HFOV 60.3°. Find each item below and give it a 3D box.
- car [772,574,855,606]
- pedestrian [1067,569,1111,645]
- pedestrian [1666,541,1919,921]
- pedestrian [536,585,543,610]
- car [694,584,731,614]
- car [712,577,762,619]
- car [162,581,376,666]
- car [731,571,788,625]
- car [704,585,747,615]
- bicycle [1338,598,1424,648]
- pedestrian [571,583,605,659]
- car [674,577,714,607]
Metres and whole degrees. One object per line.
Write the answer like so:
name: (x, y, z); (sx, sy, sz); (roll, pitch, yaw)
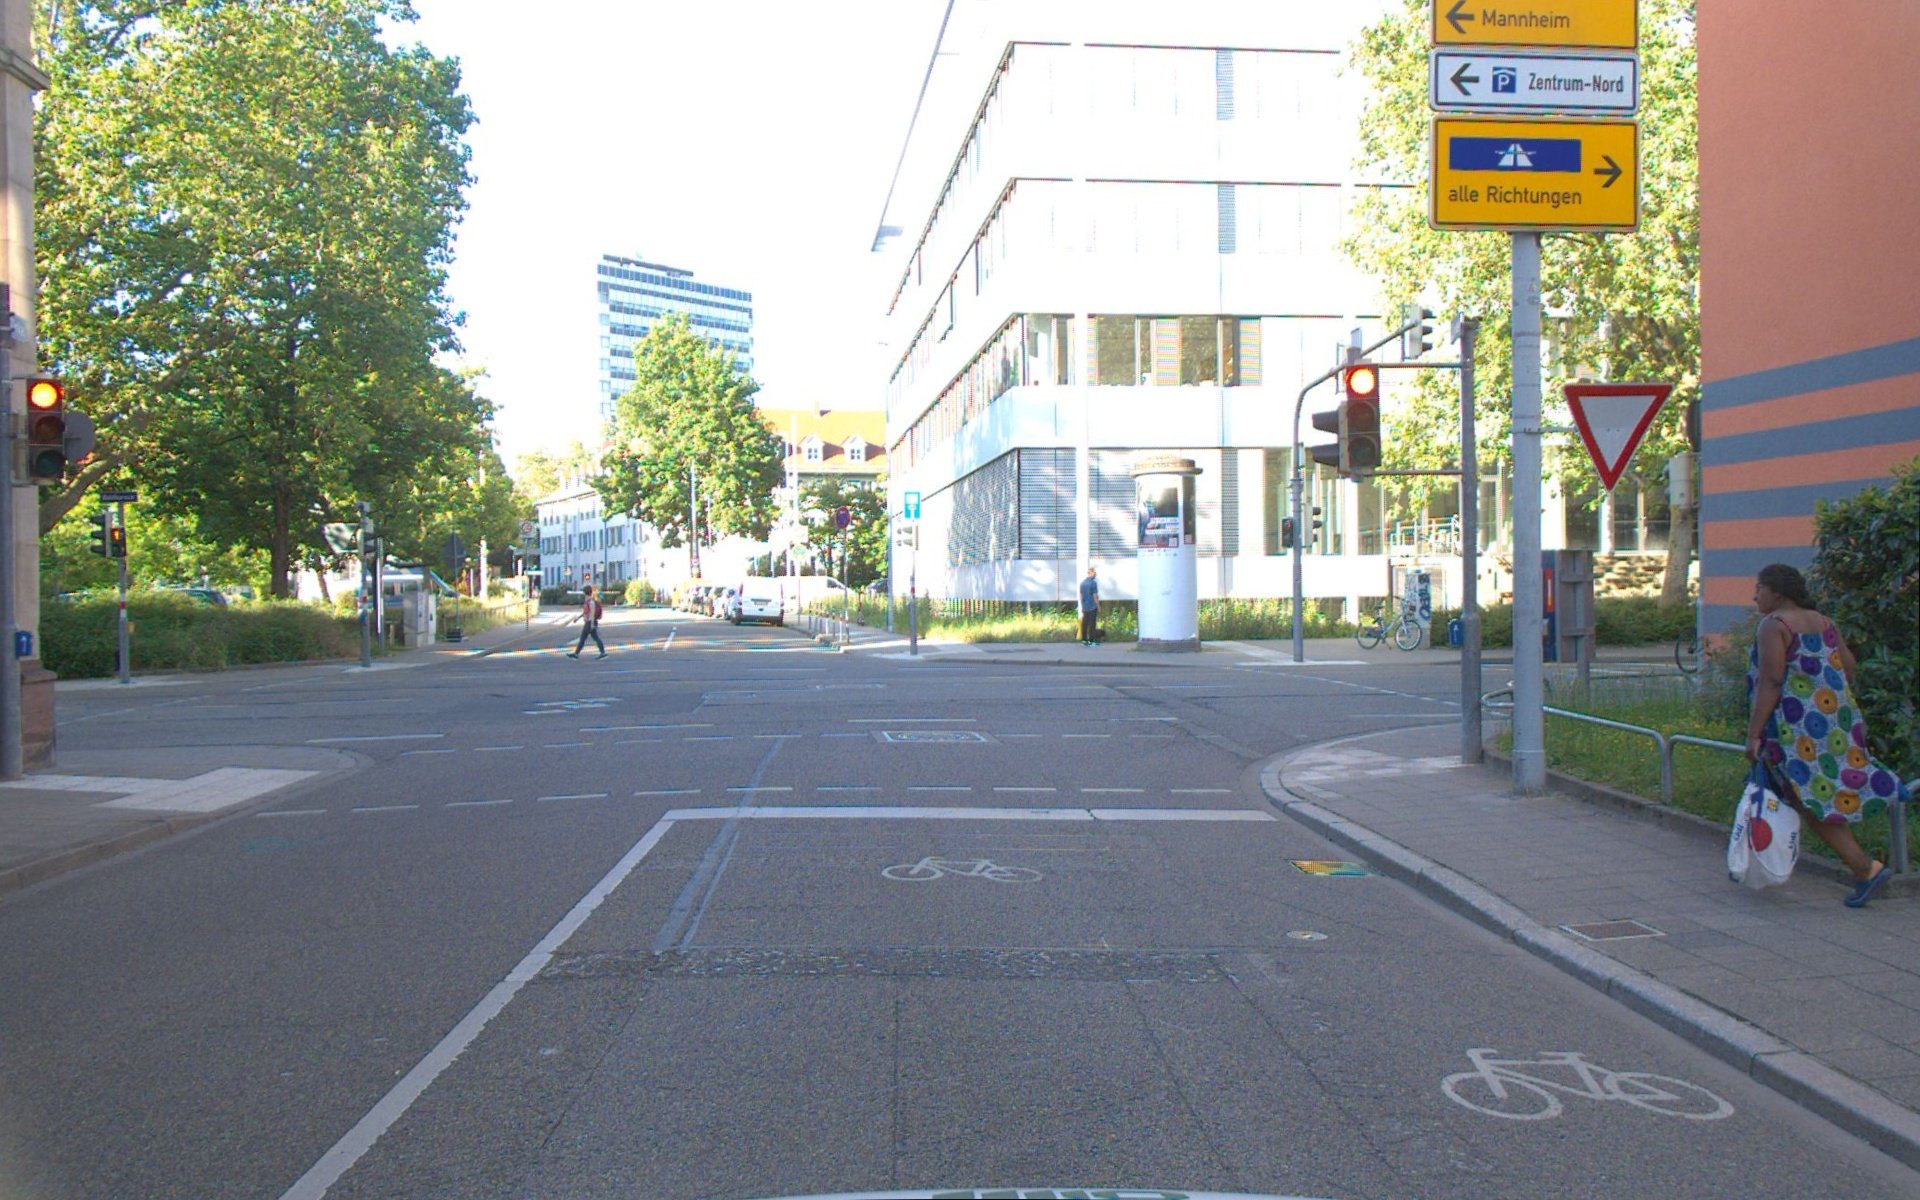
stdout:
car: (-9.106, -0.587, 102.705); (4.804, 1.905, 1.990); (1, 0, -17)
pedestrian: (3.028, 0.166, 38.891); (0.798, 1.766, 0.650); (-1, 0, 45)
pedestrian: (3.958, 0.565, 7.694); (0.944, 1.600, 0.743); (-4, 0, -30)
pedestrian: (-26.944, -0.151, 105.928); (0.373, 1.561, 0.444); (-1, 0, -13)
car: (-12.850, -0.091, 85.650); (1.674, 1.490, 4.226); (-1, 1, -11)
car: (-10.305, -0.105, 76.195); (1.913, 1.826, 4.224); (-1, 1, -13)
car: (-15.765, 0.508, 37.913); (4.146, 1.808, 1.901); (-1, 0, -9)
car: (-7.863, -0.093, 64.530); (2.029, 1.997, 4.229); (-1, 1, -9)
car: (-11.514, -0.017, 80.959); (1.675, 1.449, 4.223); (-1, 1, -14)
bicycle: (9.222, 0.502, 36.256); (0.460, 1.067, 1.886); (-1, 1, -42)
pedestrian: (-8.133, 0.454, 36.172); (0.699, 1.627, 0.615); (-1, 0, -12)
car: (-15.381, -0.464, 95.434); (2.063, 1.687, 4.463); (-1, 1, -11)
